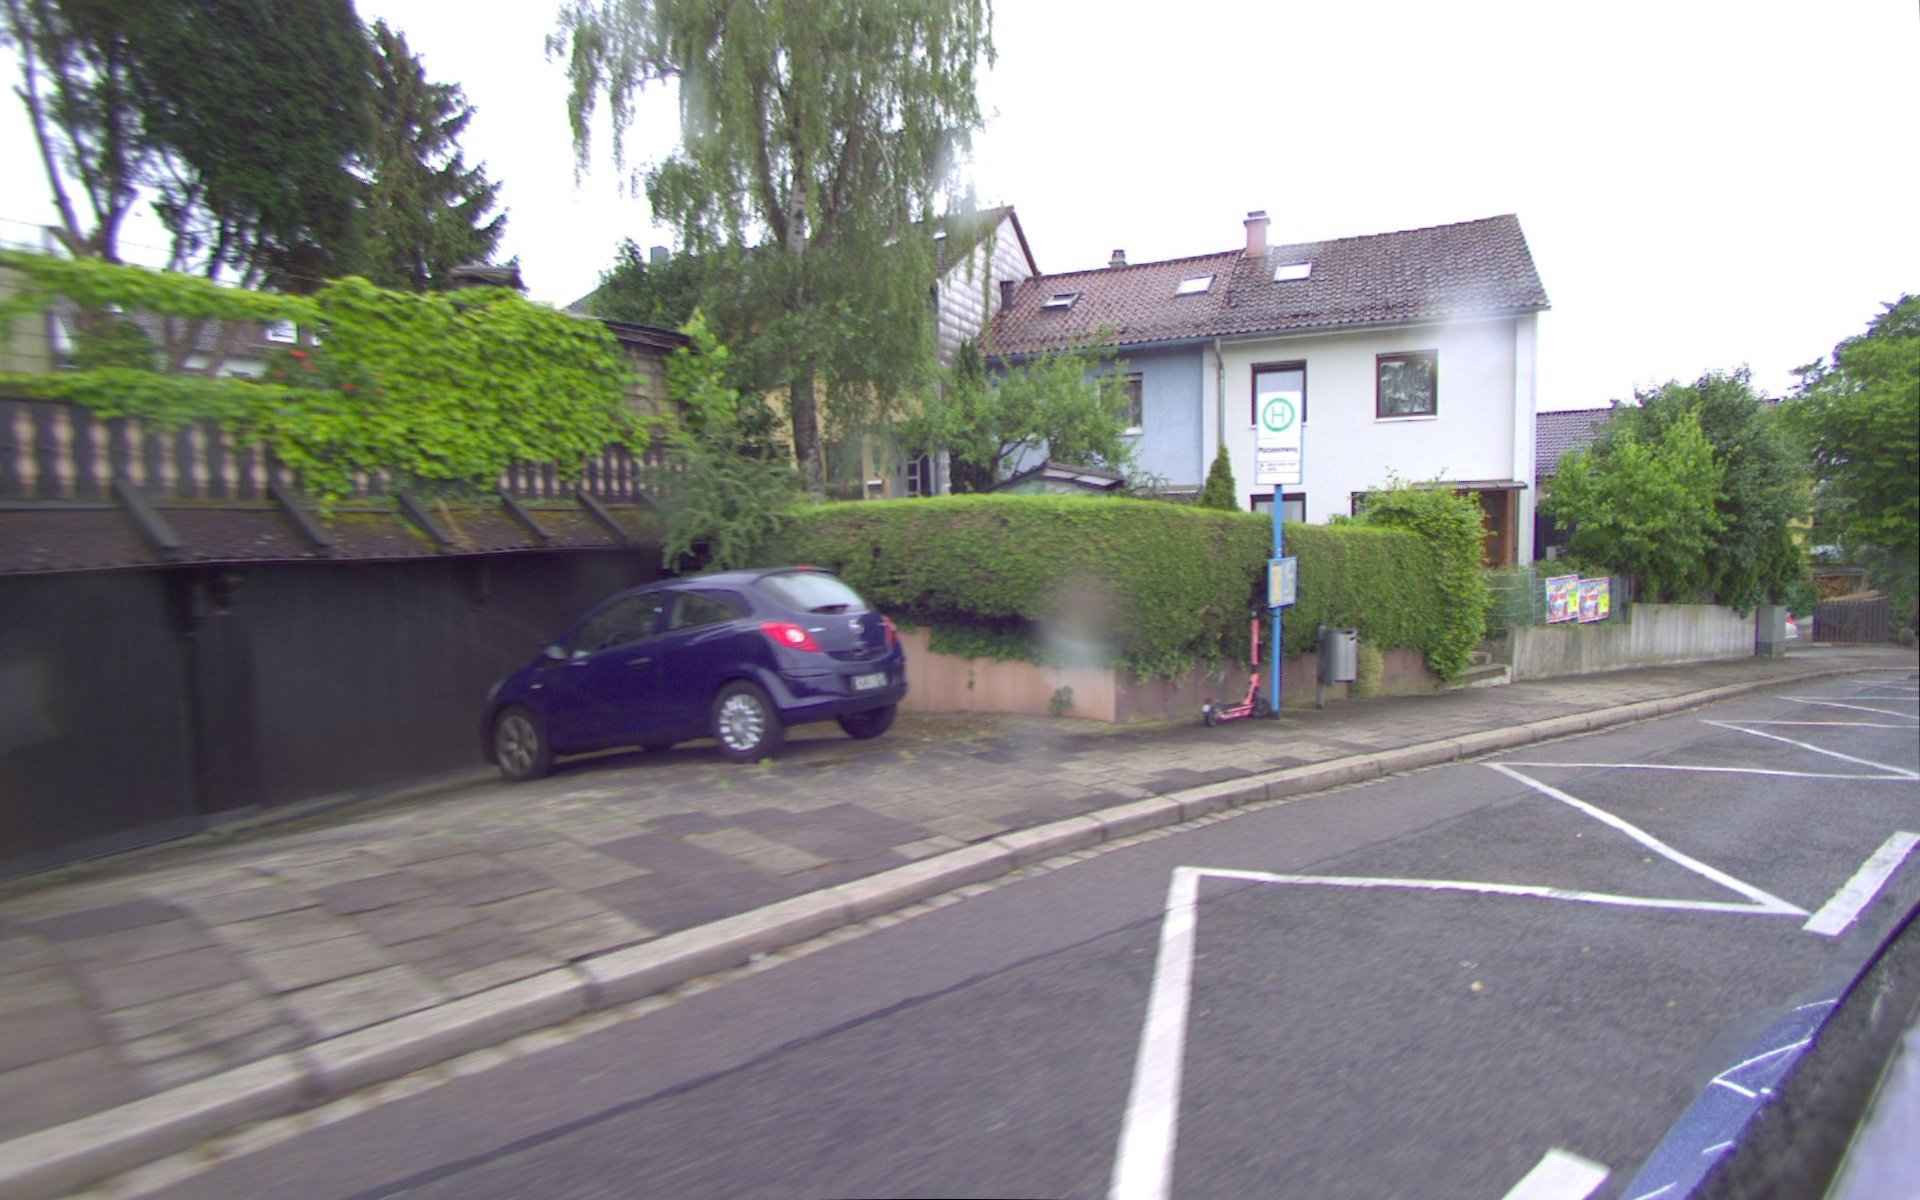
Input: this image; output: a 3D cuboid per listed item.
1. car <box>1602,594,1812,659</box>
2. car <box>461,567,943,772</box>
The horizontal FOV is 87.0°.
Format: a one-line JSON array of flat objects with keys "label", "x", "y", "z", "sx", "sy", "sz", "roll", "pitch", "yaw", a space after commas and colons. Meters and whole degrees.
[{"label": "car", "x": 21.902, "y": 0.785, "z": 29.916, "sx": 4.547, "sy": 1.438, "sz": 1.778, "roll": -6, "pitch": -1, "yaw": 21}, {"label": "car", "x": -2.202, "y": 0.596, "z": 8.479, "sx": 3.675, "sy": 1.314, "sz": 1.755, "roll": -7, "pitch": -2, "yaw": 30}]
